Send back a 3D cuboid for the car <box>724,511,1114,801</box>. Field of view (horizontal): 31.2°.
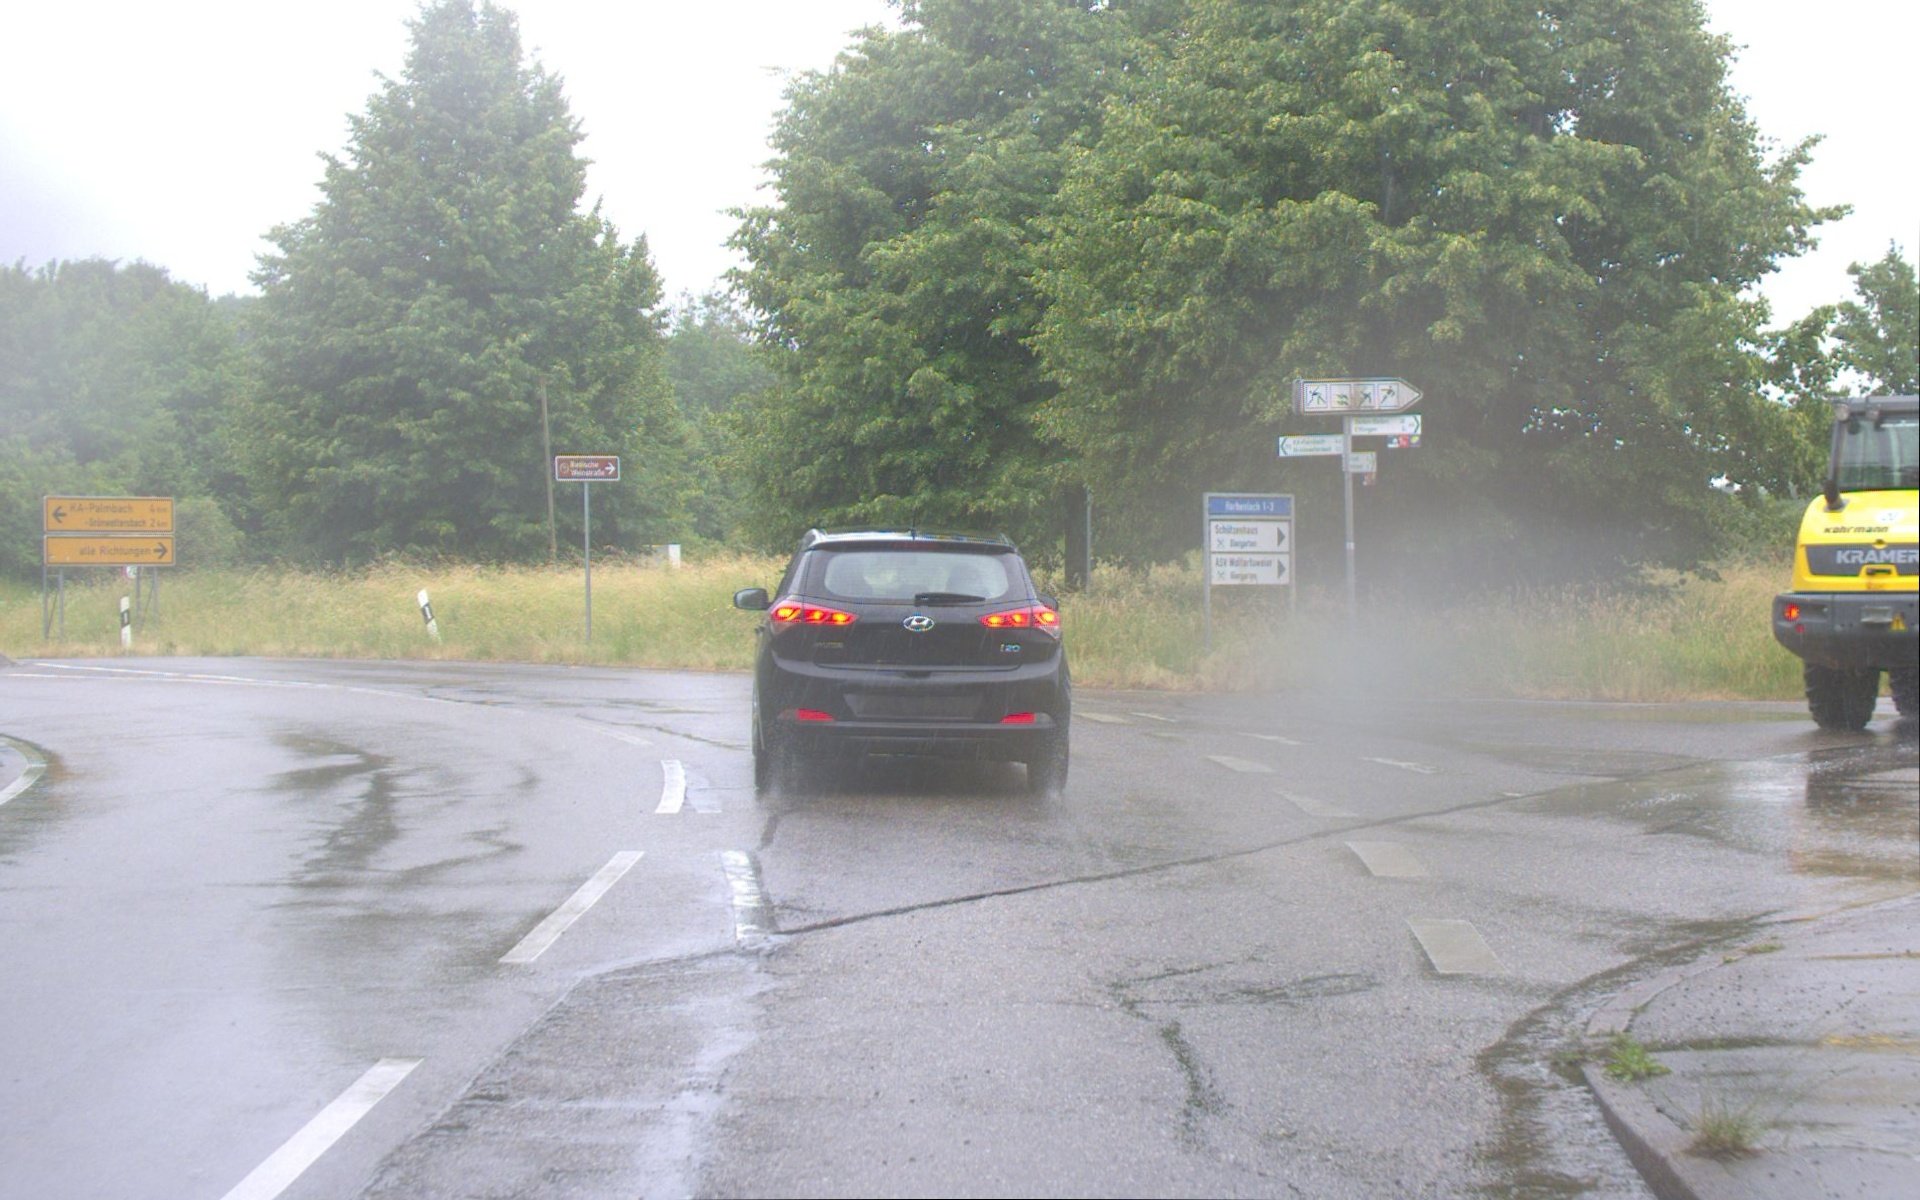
[{"bbox_3d":[-0.348,0.277,20.022,1.993,1.482,4.001,1,1,-4],"label":"car"}]

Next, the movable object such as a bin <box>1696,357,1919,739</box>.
[{"bbox_3d":[8.126,-0.360,27.000,2.250,2.660,6.613,2,1,34],"label":"movable object such as a bin"}]
